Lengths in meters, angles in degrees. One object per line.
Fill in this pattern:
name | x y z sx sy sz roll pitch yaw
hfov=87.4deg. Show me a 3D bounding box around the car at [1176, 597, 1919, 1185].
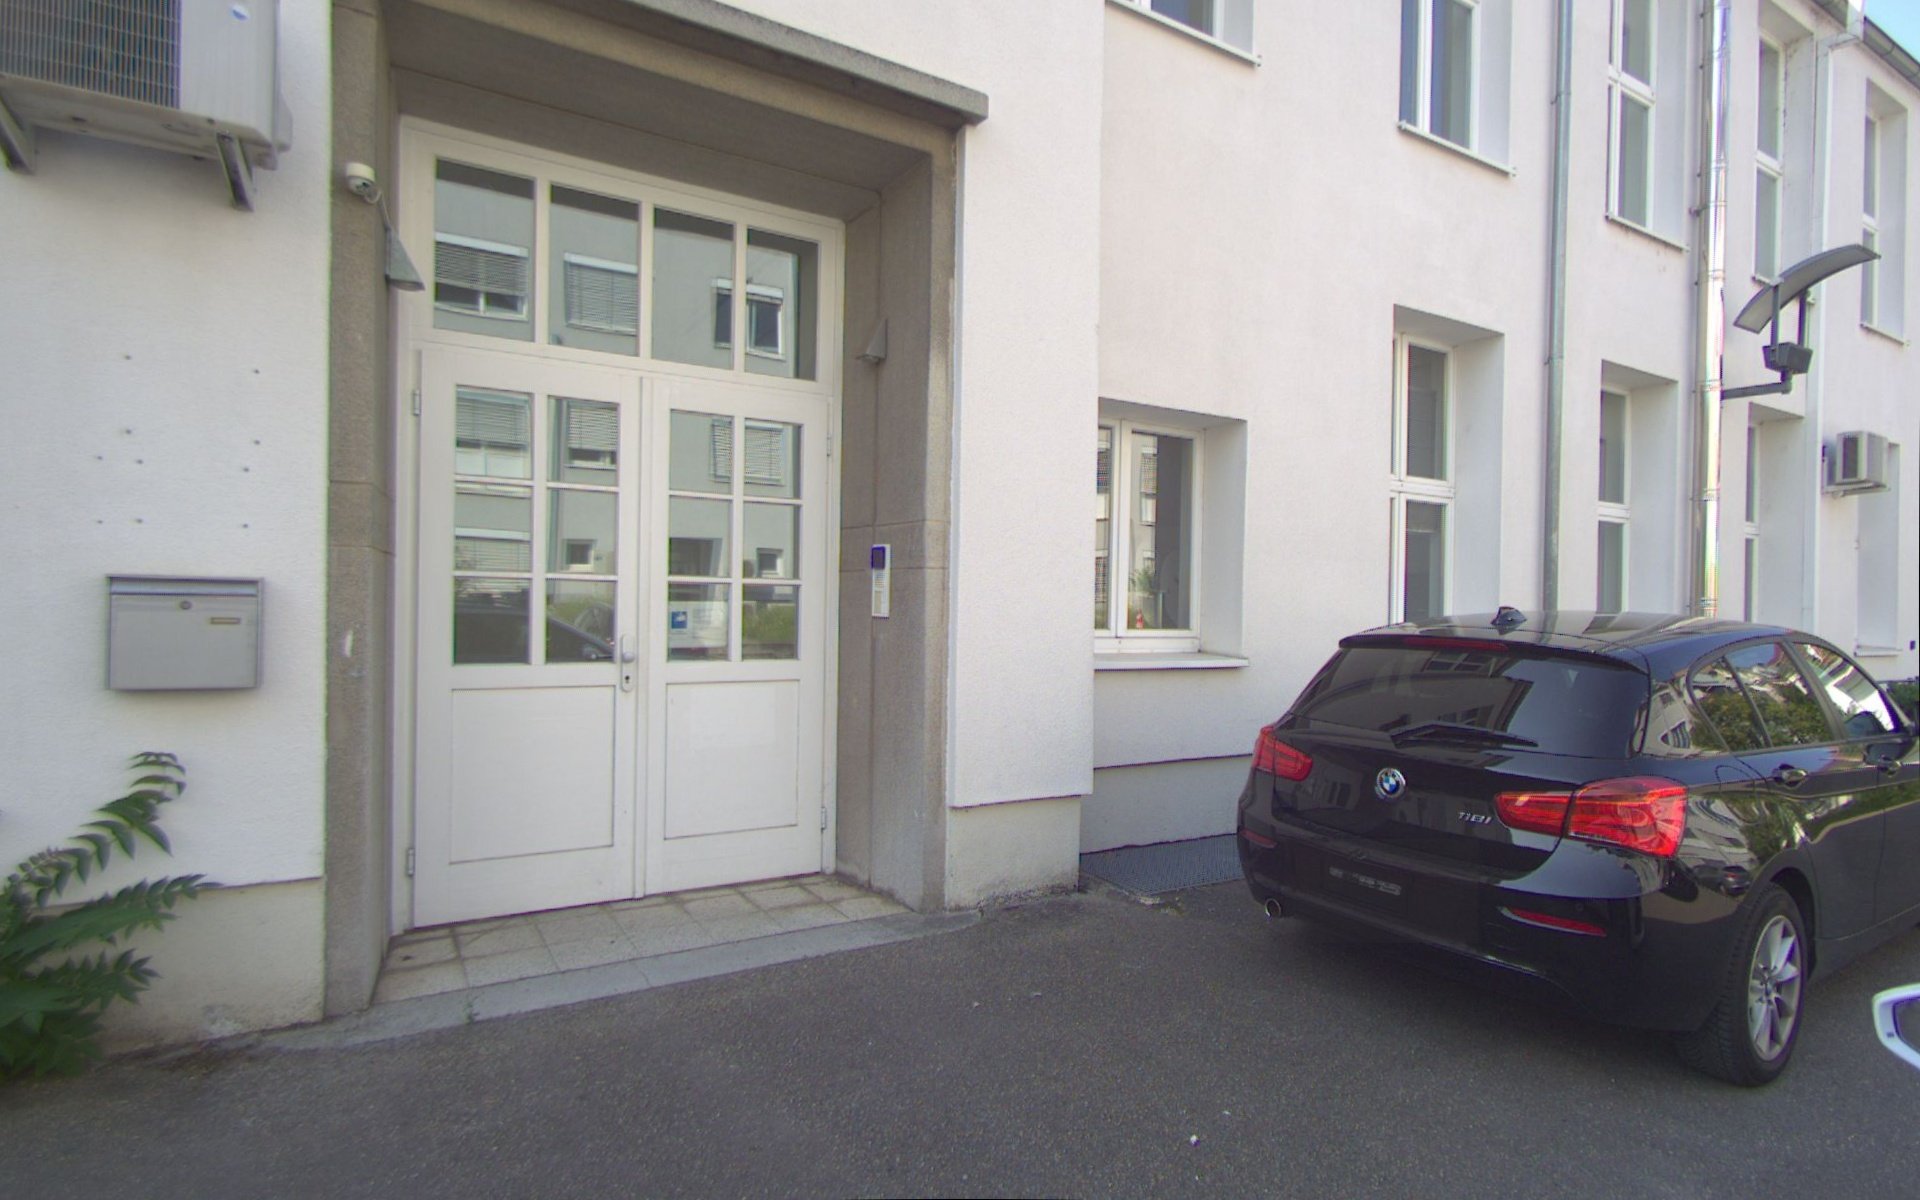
car | 2.940 0.786 4.322 3.881 1.478 1.678 2 0 -33
